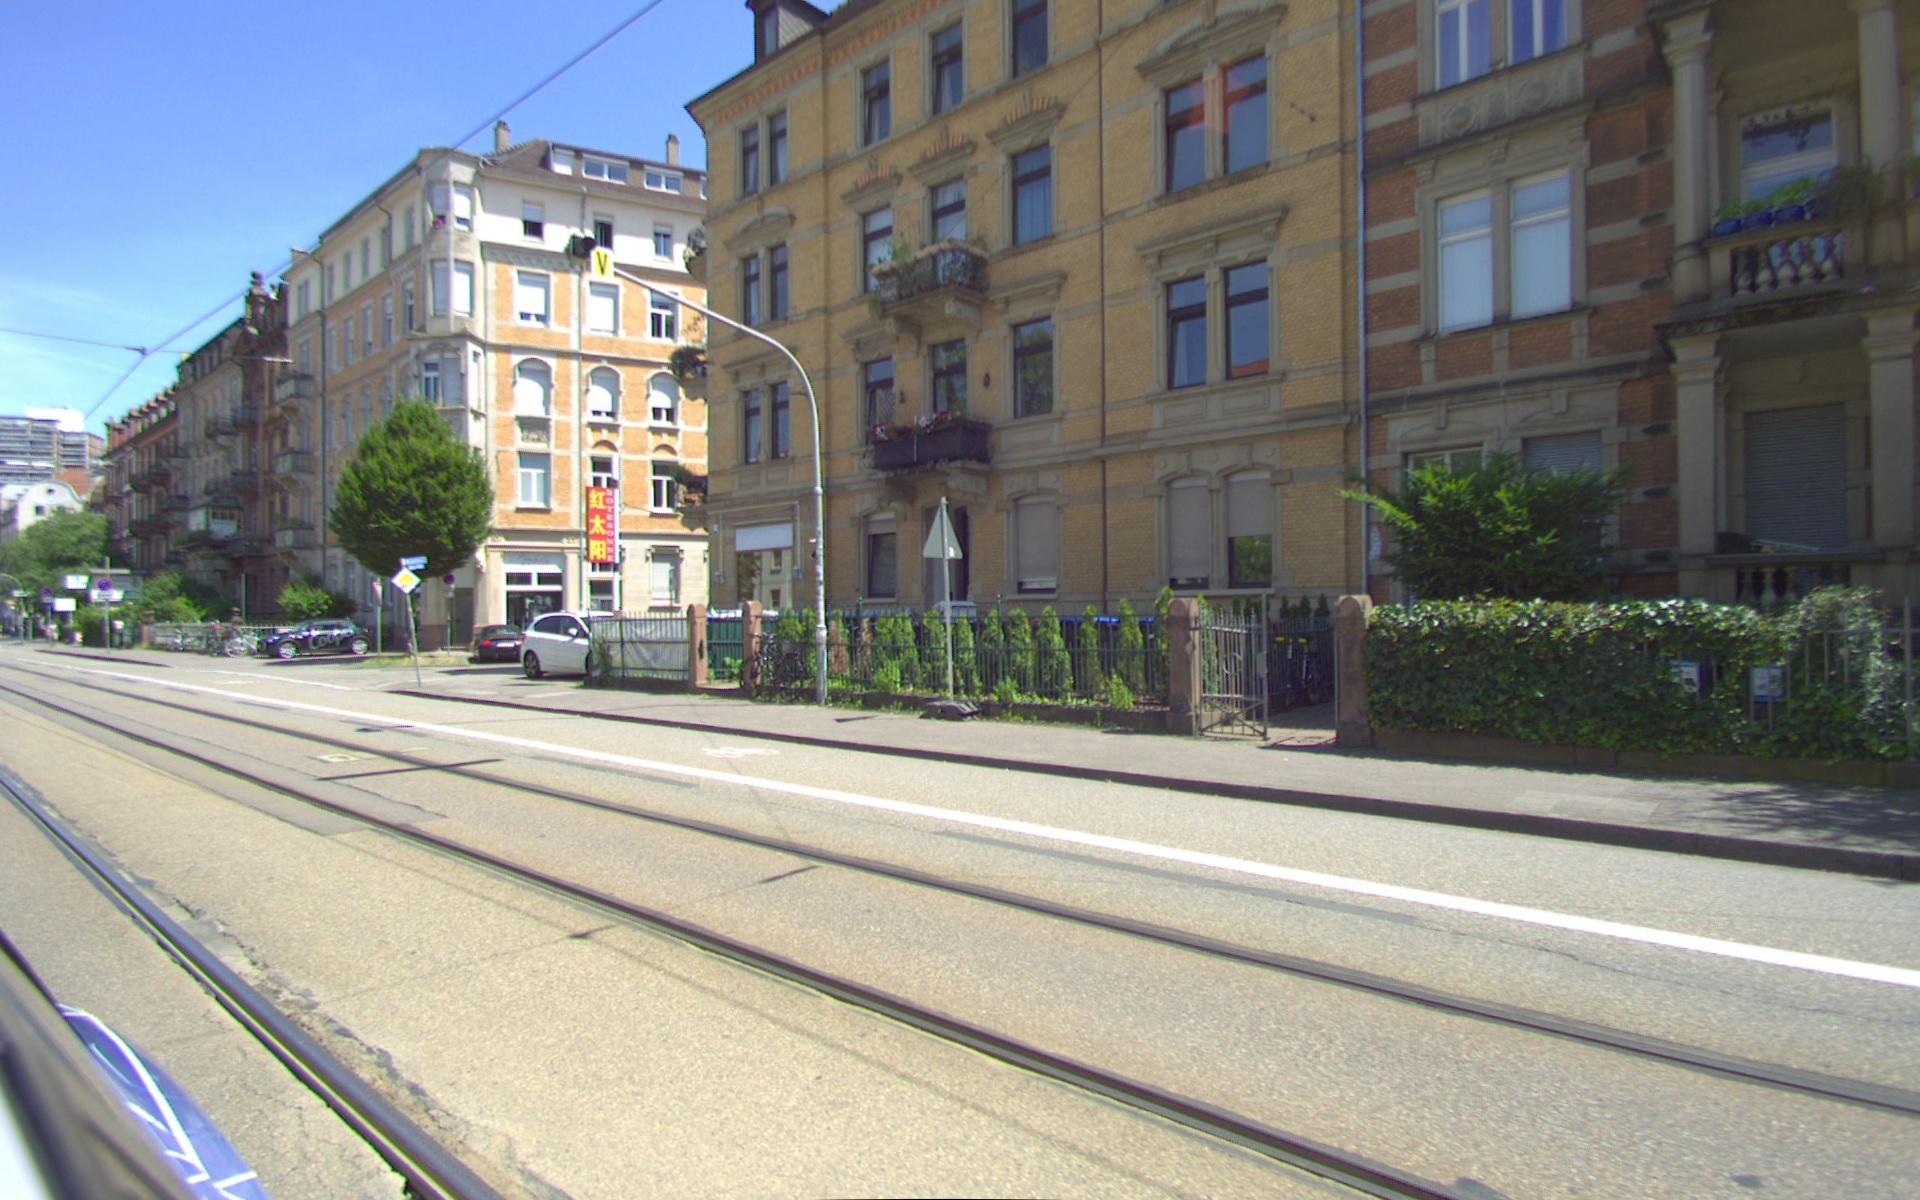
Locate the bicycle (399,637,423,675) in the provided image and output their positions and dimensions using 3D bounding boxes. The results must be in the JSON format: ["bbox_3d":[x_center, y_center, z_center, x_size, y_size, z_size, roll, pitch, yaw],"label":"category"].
[{"bbox_3d":[-19.431,1.974,35.820,0.493,1.237,1.856,1,0,-21],"label":"bicycle"}]

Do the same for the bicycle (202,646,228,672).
[{"bbox_3d":[-29.382,2.328,39.884,1.709,0.991,0.434,-2,-2,40],"label":"bicycle"}]

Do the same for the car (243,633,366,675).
[{"bbox_3d":[-25.410,2.056,39.305,1.713,1.439,3.720,-1,-1,42],"label":"car"}]

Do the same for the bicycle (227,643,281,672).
[{"bbox_3d":[-27.706,2.244,39.733,1.685,1.045,0.551,0,-2,-45],"label":"bicycle"}]

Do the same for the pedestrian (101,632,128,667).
[{"bbox_3d":[-43.397,2.514,51.958,1.138,1.736,0.842,-2,1,42],"label":"pedestrian"}]

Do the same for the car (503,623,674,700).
[{"bbox_3d":[-8.819,1.389,23.894,4.094,1.612,1.849,-2,0,36],"label":"car"}]

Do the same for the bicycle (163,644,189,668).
[{"bbox_3d":[-34.675,2.448,44.744,1.709,0.994,0.491,-2,2,40],"label":"bicycle"}]

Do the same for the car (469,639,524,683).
[{"bbox_3d":[-17.119,2.191,37.300,1.603,1.349,3.784,1,0,-28],"label":"car"}]

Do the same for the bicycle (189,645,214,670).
[{"bbox_3d":[-30.901,2.336,41.249,1.709,0.991,0.434,-2,-2,40],"label":"bicycle"}]

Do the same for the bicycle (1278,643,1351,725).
[{"bbox_3d":[4.912,1.125,13.963,0.454,1.011,1.785,-2,-1,35],"label":"bicycle"}]

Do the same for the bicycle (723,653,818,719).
[{"bbox_3d":[-3.129,1.389,16.623,1.804,1.011,0.449,-2,-2,38],"label":"bicycle"}]

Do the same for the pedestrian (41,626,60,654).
[{"bbox_3d":[-57.099,2.524,63.561,0.861,1.713,1.014,1,-2,-43],"label":"pedestrian"}]
